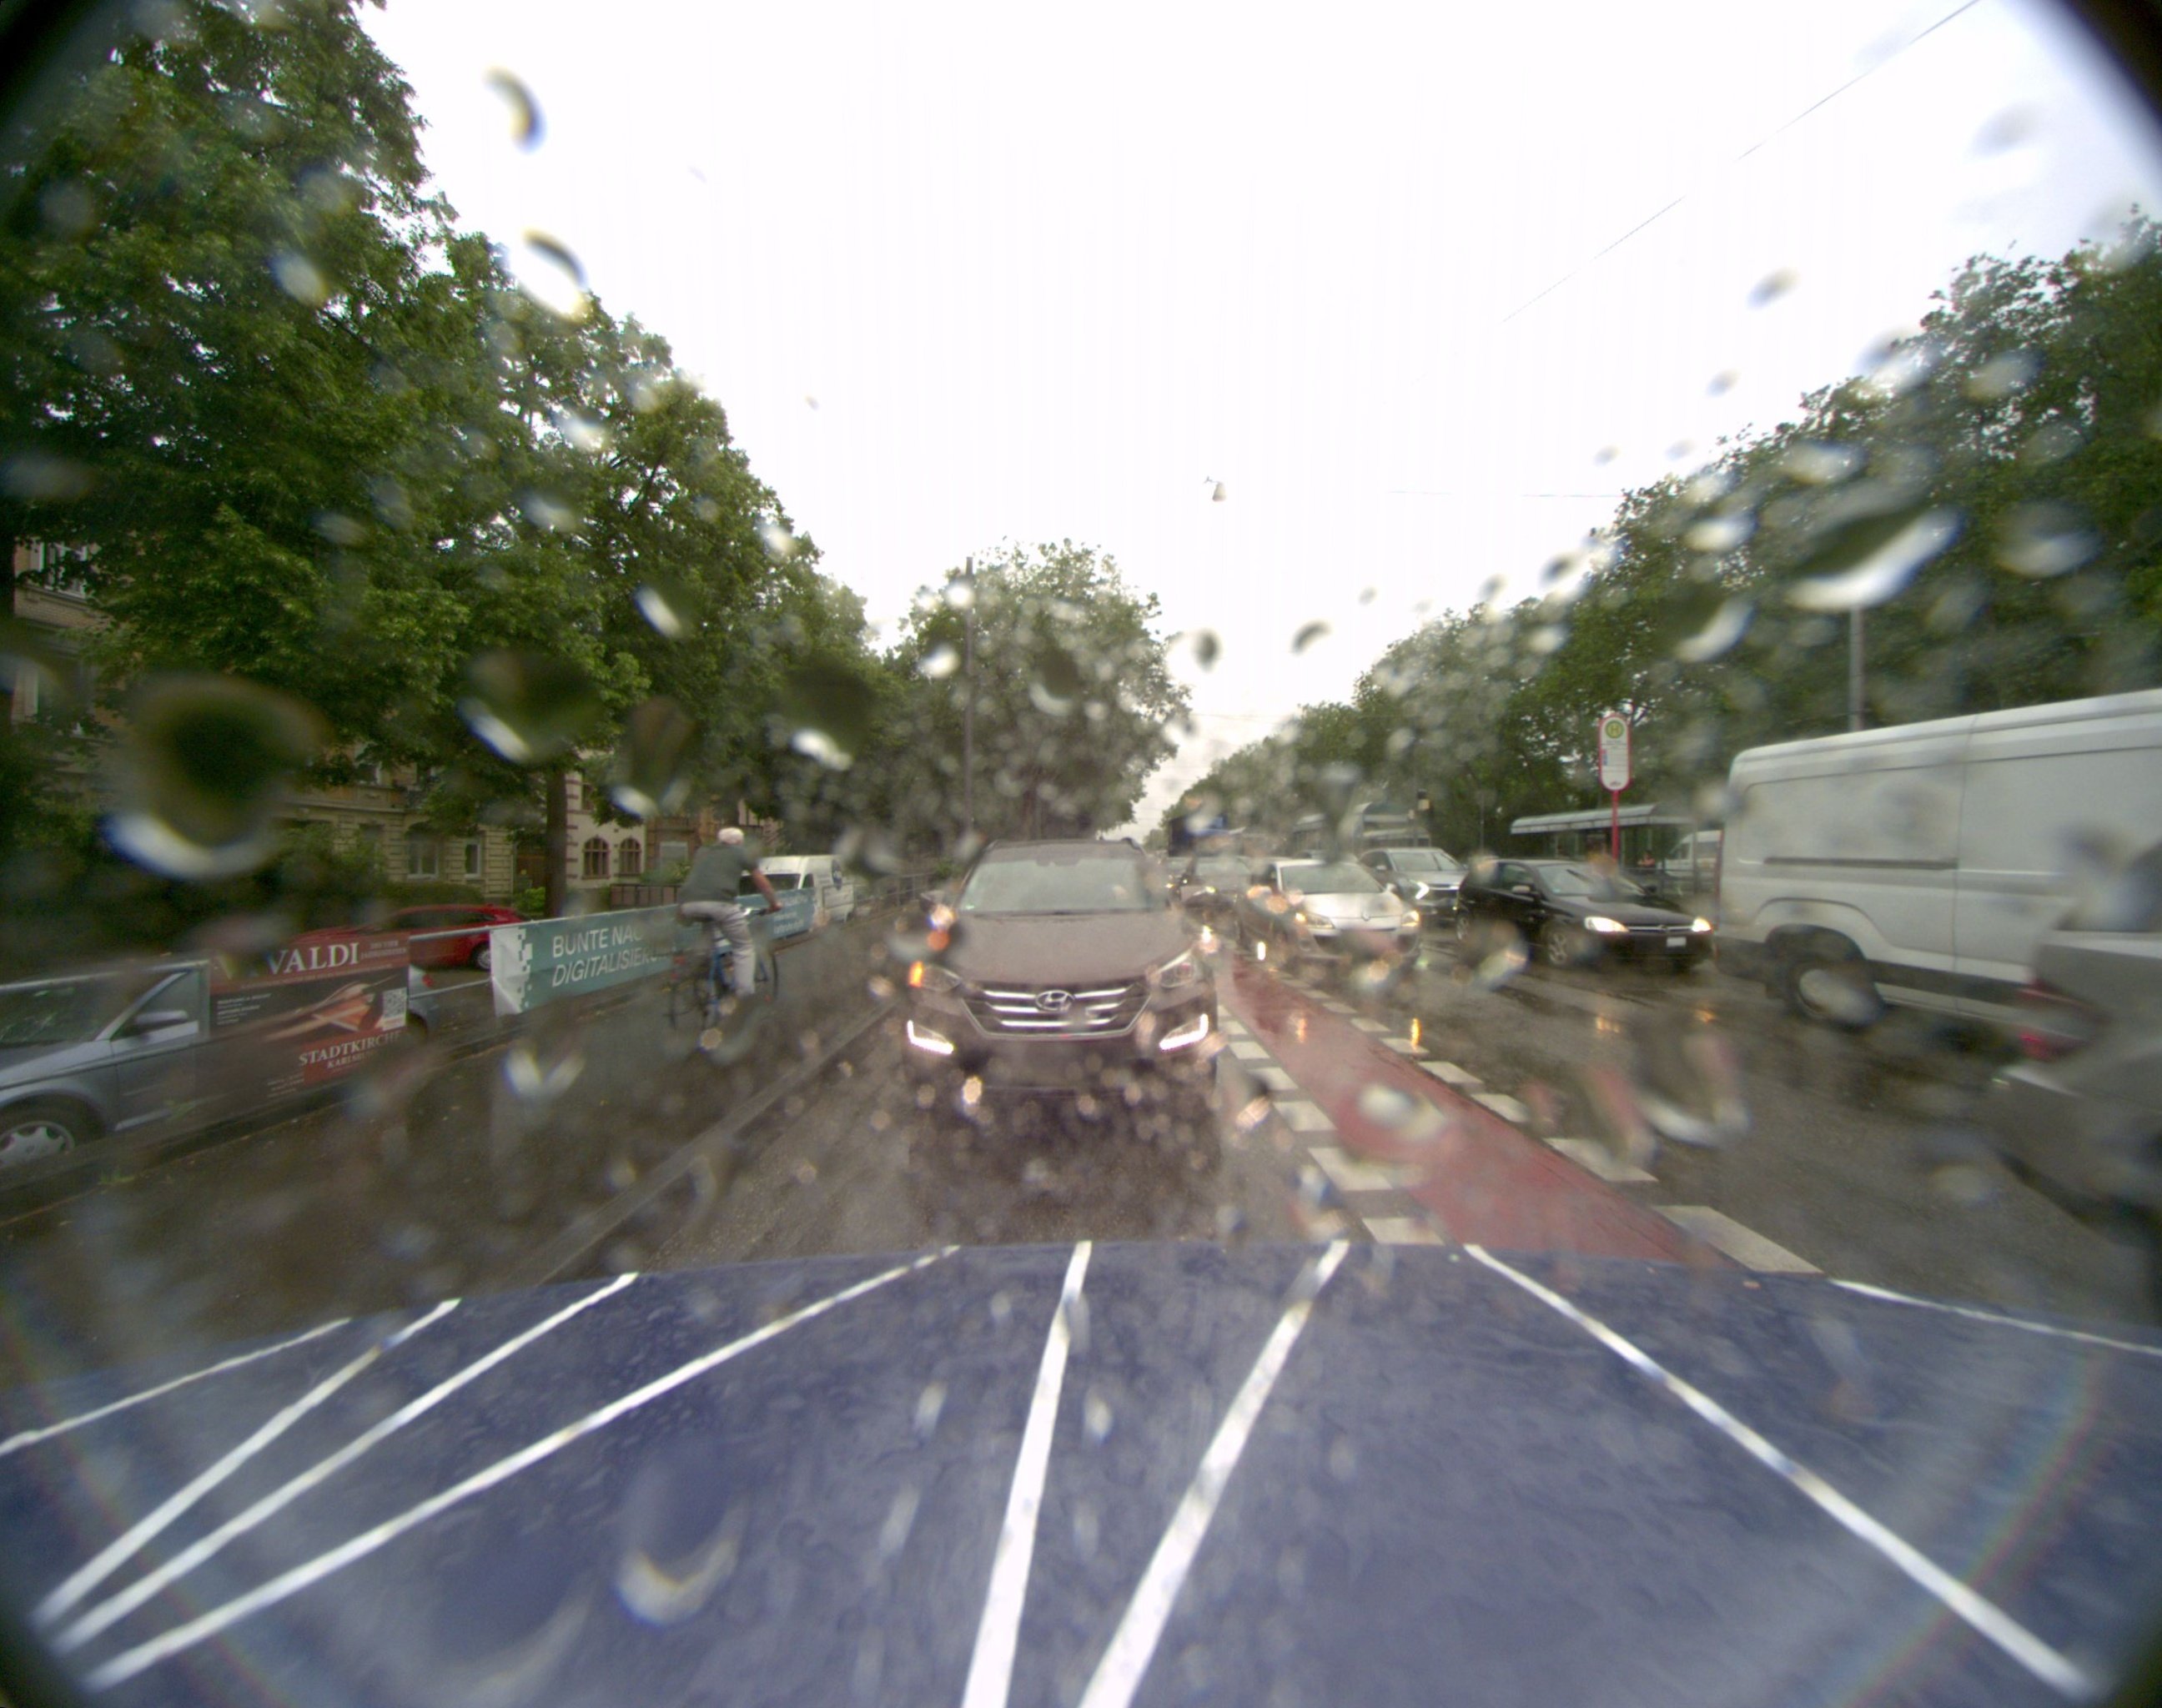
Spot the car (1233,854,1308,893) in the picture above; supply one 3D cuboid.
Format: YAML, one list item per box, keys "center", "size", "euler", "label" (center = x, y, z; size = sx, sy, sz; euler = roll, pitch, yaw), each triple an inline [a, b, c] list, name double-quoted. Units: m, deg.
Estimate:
- center: [7.455, 0.747, 30.303]
  size: [1.913, 1.399, 4.191]
  euler: [-1, -1, 0]
  label: "car"

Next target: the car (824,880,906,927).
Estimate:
- center: [-7.649, 1.728, 27.271]
  size: [1.630, 1.341, 4.216]
  euler: [-1, 0, 1]
  label: "car"

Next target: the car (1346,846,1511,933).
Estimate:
- center: [7.419, 0.720, 16.741]
  size: [1.847, 1.625, 4.249]
  euler: [-1, -1, 3]
  label: "car"

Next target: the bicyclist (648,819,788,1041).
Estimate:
- center: [-2.876, 0.572, 6.111]
  size: [0.738, 1.646, 0.877]
  euler: [0, 0, -4]
  label: "bicyclist"

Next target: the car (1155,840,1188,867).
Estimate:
- center: [7.728, -0.054, 65.556]
  size: [2.344, 2.137, 5.454]
  euler: [-2, 1, 2]
  label: "car"

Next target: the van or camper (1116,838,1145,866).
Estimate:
- center: [4.495, -0.147, 70.092]
  size: [2.144, 2.484, 5.713]
  euler: [-1, -1, -1]
  label: "van or camper"

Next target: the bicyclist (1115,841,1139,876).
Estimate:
- center: [1.961, 0.182, 32.722]
  size: [0.927, 1.461, 0.805]
  euler: [-2, 1, -1]
  label: "bicyclist"

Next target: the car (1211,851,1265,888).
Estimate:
- center: [7.446, 0.730, 36.358]
  size: [1.912, 1.637, 4.192]
  euler: [-1, -1, 3]
  label: "car"

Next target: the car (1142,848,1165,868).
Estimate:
- center: [7.443, 0.407, 78.595]
  size: [1.998, 2.001, 4.001]
  euler: [-1, -1, 1]
  label: "car"

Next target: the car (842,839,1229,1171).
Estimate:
- center: [-0.129, 0.798, 6.157]
  size: [1.912, 1.637, 4.682]
  euler: [-1, -1, 3]
  label: "car"

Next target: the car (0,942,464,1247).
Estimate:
- center: [-7.209, 1.620, 5.643]
  size: [1.731, 1.461, 4.217]
  euler: [-1, -1, 1]
  label: "car"

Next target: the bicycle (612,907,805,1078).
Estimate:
- center: [-2.889, 1.013, 6.143]
  size: [0.740, 1.066, 1.866]
  euler: [0, -1, -4]
  label: "bicycle"

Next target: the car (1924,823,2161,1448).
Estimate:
- center: [3.785, 0.691, 0.187]
  size: [1.913, 1.637, 4.680]
  euler: [-1, -1, 0]
  label: "car"

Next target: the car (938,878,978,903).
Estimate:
- center: [-7.805, 2.329, 48.575]
  size: [1.808, 1.446, 4.001]
  euler: [-1, -1, 1]
  label: "car"

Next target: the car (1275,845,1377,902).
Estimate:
- center: [7.776, 0.610, 24.555]
  size: [1.913, 1.637, 4.191]
  euler: [-1, -1, 0]
  label: "car"

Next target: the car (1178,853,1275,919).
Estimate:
- center: [3.811, 0.803, 20.711]
  size: [1.912, 1.540, 4.668]
  euler: [-1, -1, 3]
  label: "car"

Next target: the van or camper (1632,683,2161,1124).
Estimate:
- center: [7.095, 0.274, 5.251]
  size: [2.181, 2.456, 5.971]
  euler: [-1, -1, 0]
  label: "van or camper"

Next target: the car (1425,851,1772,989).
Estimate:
- center: [6.830, 0.776, 10.788]
  size: [1.786, 1.504, 4.557]
  euler: [-1, -1, 0]
  label: "car"

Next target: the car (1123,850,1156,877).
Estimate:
- center: [4.062, 0.627, 53.489]
  size: [1.998, 1.737, 3.999]
  euler: [-2, 1, 1]
  label: "car"

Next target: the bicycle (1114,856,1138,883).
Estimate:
- center: [1.944, 0.664, 32.833]
  size: [0.819, 1.082, 1.997]
  euler: [-2, 1, -2]
  label: "bicycle"

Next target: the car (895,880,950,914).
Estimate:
- center: [-7.535, 2.012, 36.453]
  size: [1.704, 1.363, 4.000]
  euler: [-2, 0, 1]
  label: "car"

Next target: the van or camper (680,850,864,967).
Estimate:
- center: [-7.801, 1.275, 20.103]
  size: [2.332, 2.575, 6.097]
  euler: [-1, -1, 0]
  label: "van or camper"

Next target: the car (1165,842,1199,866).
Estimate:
- center: [7.654, -0.051, 57.962]
  size: [1.998, 1.706, 3.999]
  euler: [-2, 1, 1]
  label: "car"

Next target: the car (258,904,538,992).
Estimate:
- center: [-14.593, 1.949, 16.616]
  size: [4.294, 1.461, 1.705]
  euler: [-1, -1, -31]
  label: "car"

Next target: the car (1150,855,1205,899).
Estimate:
- center: [3.911, 0.916, 31.534]
  size: [1.912, 1.637, 4.192]
  euler: [-1, -1, 3]
  label: "car"

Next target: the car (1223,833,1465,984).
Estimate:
- center: [3.507, 0.676, 11.098]
  size: [1.975, 1.731, 4.267]
  euler: [-1, -1, -1]
  label: "car"

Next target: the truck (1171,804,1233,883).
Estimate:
- center: [7.127, -0.503, 45.806]
  size: [2.417, 4.251, 8.354]
  euler: [-1, -1, 1]
  label: "truck"
